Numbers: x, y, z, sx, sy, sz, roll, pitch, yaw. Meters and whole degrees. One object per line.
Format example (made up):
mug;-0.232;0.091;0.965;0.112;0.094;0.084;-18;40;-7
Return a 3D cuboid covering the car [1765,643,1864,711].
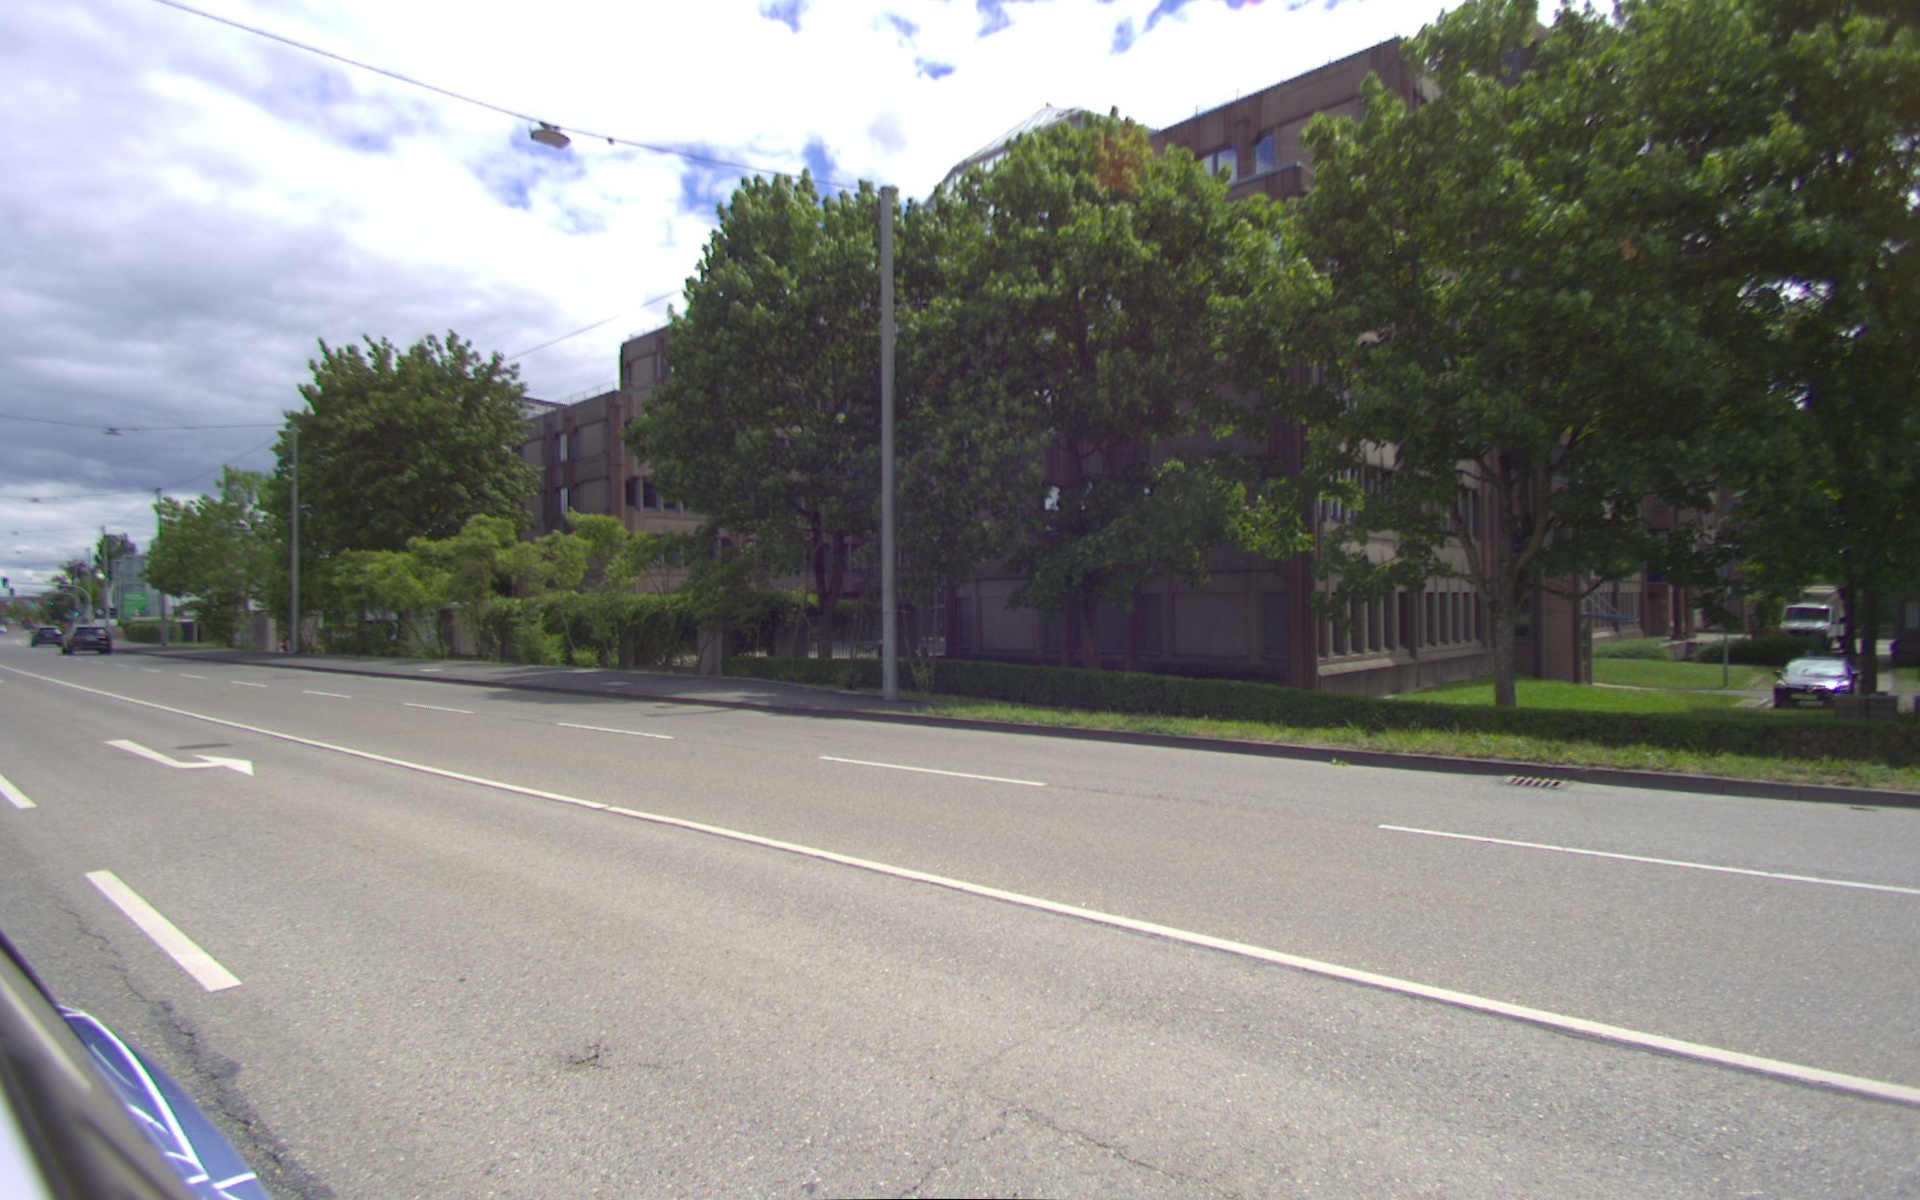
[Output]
car;23.837;2.104;28.189;1.787;1.741;3.941;-2;-4;45

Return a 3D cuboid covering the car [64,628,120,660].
car;-48.083;2.418;56.023;4.572;1.627;1.847;-1;-1;43

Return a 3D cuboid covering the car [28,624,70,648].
car;-66.057;2.607;73.335;4.311;1.597;1.777;-1;0;42

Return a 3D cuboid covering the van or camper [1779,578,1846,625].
van or camper;40.913;0.078;48.659;2.356;2.120;5.136;-1;0;39

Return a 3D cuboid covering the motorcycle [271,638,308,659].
motorcycle;-42.657;3.104;64.407;0.745;1.254;1.880;-1;-1;41
